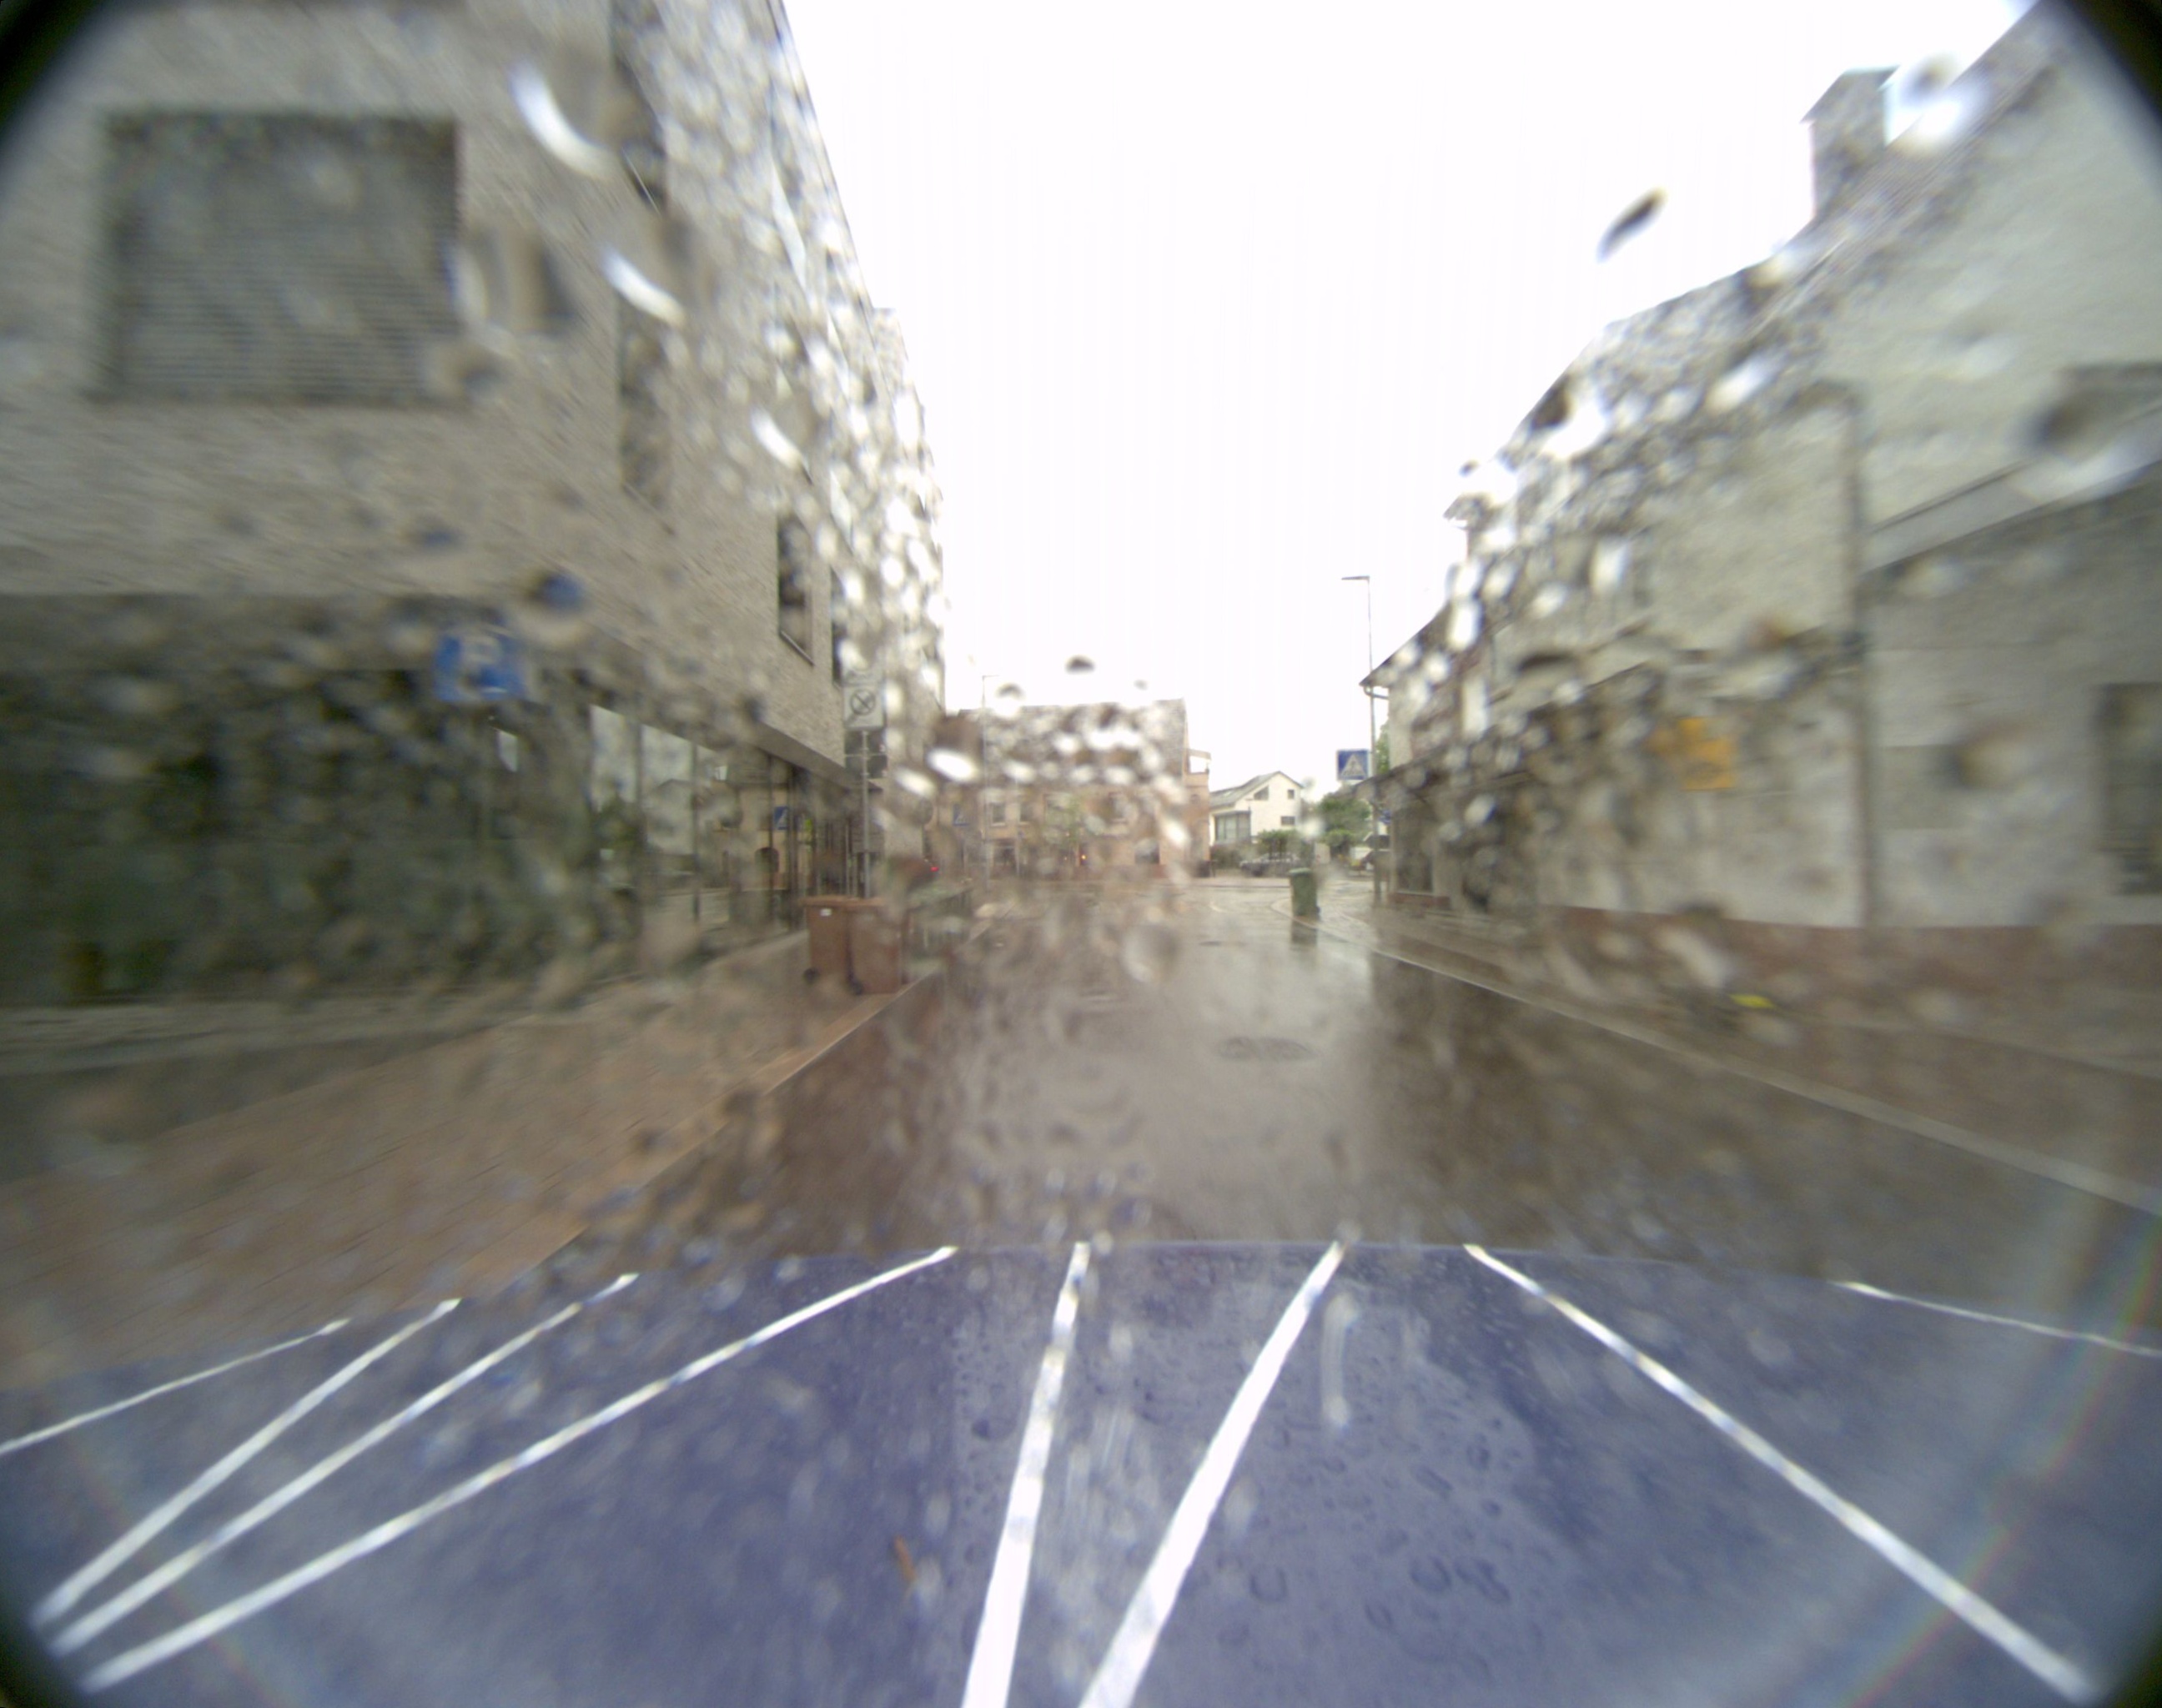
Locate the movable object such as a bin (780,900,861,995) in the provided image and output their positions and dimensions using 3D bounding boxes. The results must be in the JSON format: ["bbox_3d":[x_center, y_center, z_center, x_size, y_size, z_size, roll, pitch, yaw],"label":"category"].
[{"bbox_3d":[-3.170,1.124,9.296,0.768,1.089,0.627,0,1,0],"label":"movable object such as a bin"}]

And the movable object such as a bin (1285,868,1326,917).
[{"bbox_3d":[5.246,0.890,17.797,0.689,1.075,0.760,-3,1,-1],"label":"movable object such as a bin"}]

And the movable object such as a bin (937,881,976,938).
[{"bbox_3d":[-2.437,1.076,14.914,0.664,1.089,0.551,0,1,-1],"label":"movable object such as a bin"}]

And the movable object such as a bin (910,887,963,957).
[{"bbox_3d":[-2.366,1.108,12.503,0.768,1.089,0.581,0,1,0],"label":"movable object such as a bin"}]

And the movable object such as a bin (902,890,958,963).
[{"bbox_3d":[-2.354,1.116,11.903,0.768,1.089,0.581,0,1,0],"label":"movable object such as a bin"}]

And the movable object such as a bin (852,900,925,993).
[{"bbox_3d":[-2.389,1.139,9.486,0.768,1.089,0.581,0,1,0],"label":"movable object such as a bin"}]

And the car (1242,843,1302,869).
[{"bbox_3d":[15.052,0.146,59.925,4.479,2.002,2.003,1,0,17],"label":"car"}]

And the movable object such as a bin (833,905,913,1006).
[{"bbox_3d":[-2.389,1.153,8.794,0.768,1.089,0.581,0,1,0],"label":"movable object such as a bin"}]

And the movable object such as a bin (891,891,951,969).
[{"bbox_3d":[-2.362,1.113,11.293,0.768,1.089,0.581,0,1,0],"label":"movable object such as a bin"}]

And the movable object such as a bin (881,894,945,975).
[{"bbox_3d":[-2.359,1.118,10.699,0.768,1.089,0.581,0,1,0],"label":"movable object such as a bin"}]

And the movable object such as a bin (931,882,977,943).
[{"bbox_3d":[-2.376,1.085,14.278,0.742,1.089,0.657,0,1,-1],"label":"movable object such as a bin"}]

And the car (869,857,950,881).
[{"bbox_3d":[-10.290,0.910,45.676,4.461,1.422,1.672,-1,-1,11],"label":"car"}]

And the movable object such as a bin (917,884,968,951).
[{"bbox_3d":[-2.371,1.082,13.089,0.768,1.089,0.581,0,1,0],"label":"movable object such as a bin"}]

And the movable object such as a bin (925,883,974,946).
[{"bbox_3d":[-2.360,1.085,13.693,0.768,1.089,0.581,0,1,0],"label":"movable object such as a bin"}]

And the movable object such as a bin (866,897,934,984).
[{"bbox_3d":[-2.389,1.131,10.079,0.768,1.089,0.581,0,1,0],"label":"movable object such as a bin"}]
